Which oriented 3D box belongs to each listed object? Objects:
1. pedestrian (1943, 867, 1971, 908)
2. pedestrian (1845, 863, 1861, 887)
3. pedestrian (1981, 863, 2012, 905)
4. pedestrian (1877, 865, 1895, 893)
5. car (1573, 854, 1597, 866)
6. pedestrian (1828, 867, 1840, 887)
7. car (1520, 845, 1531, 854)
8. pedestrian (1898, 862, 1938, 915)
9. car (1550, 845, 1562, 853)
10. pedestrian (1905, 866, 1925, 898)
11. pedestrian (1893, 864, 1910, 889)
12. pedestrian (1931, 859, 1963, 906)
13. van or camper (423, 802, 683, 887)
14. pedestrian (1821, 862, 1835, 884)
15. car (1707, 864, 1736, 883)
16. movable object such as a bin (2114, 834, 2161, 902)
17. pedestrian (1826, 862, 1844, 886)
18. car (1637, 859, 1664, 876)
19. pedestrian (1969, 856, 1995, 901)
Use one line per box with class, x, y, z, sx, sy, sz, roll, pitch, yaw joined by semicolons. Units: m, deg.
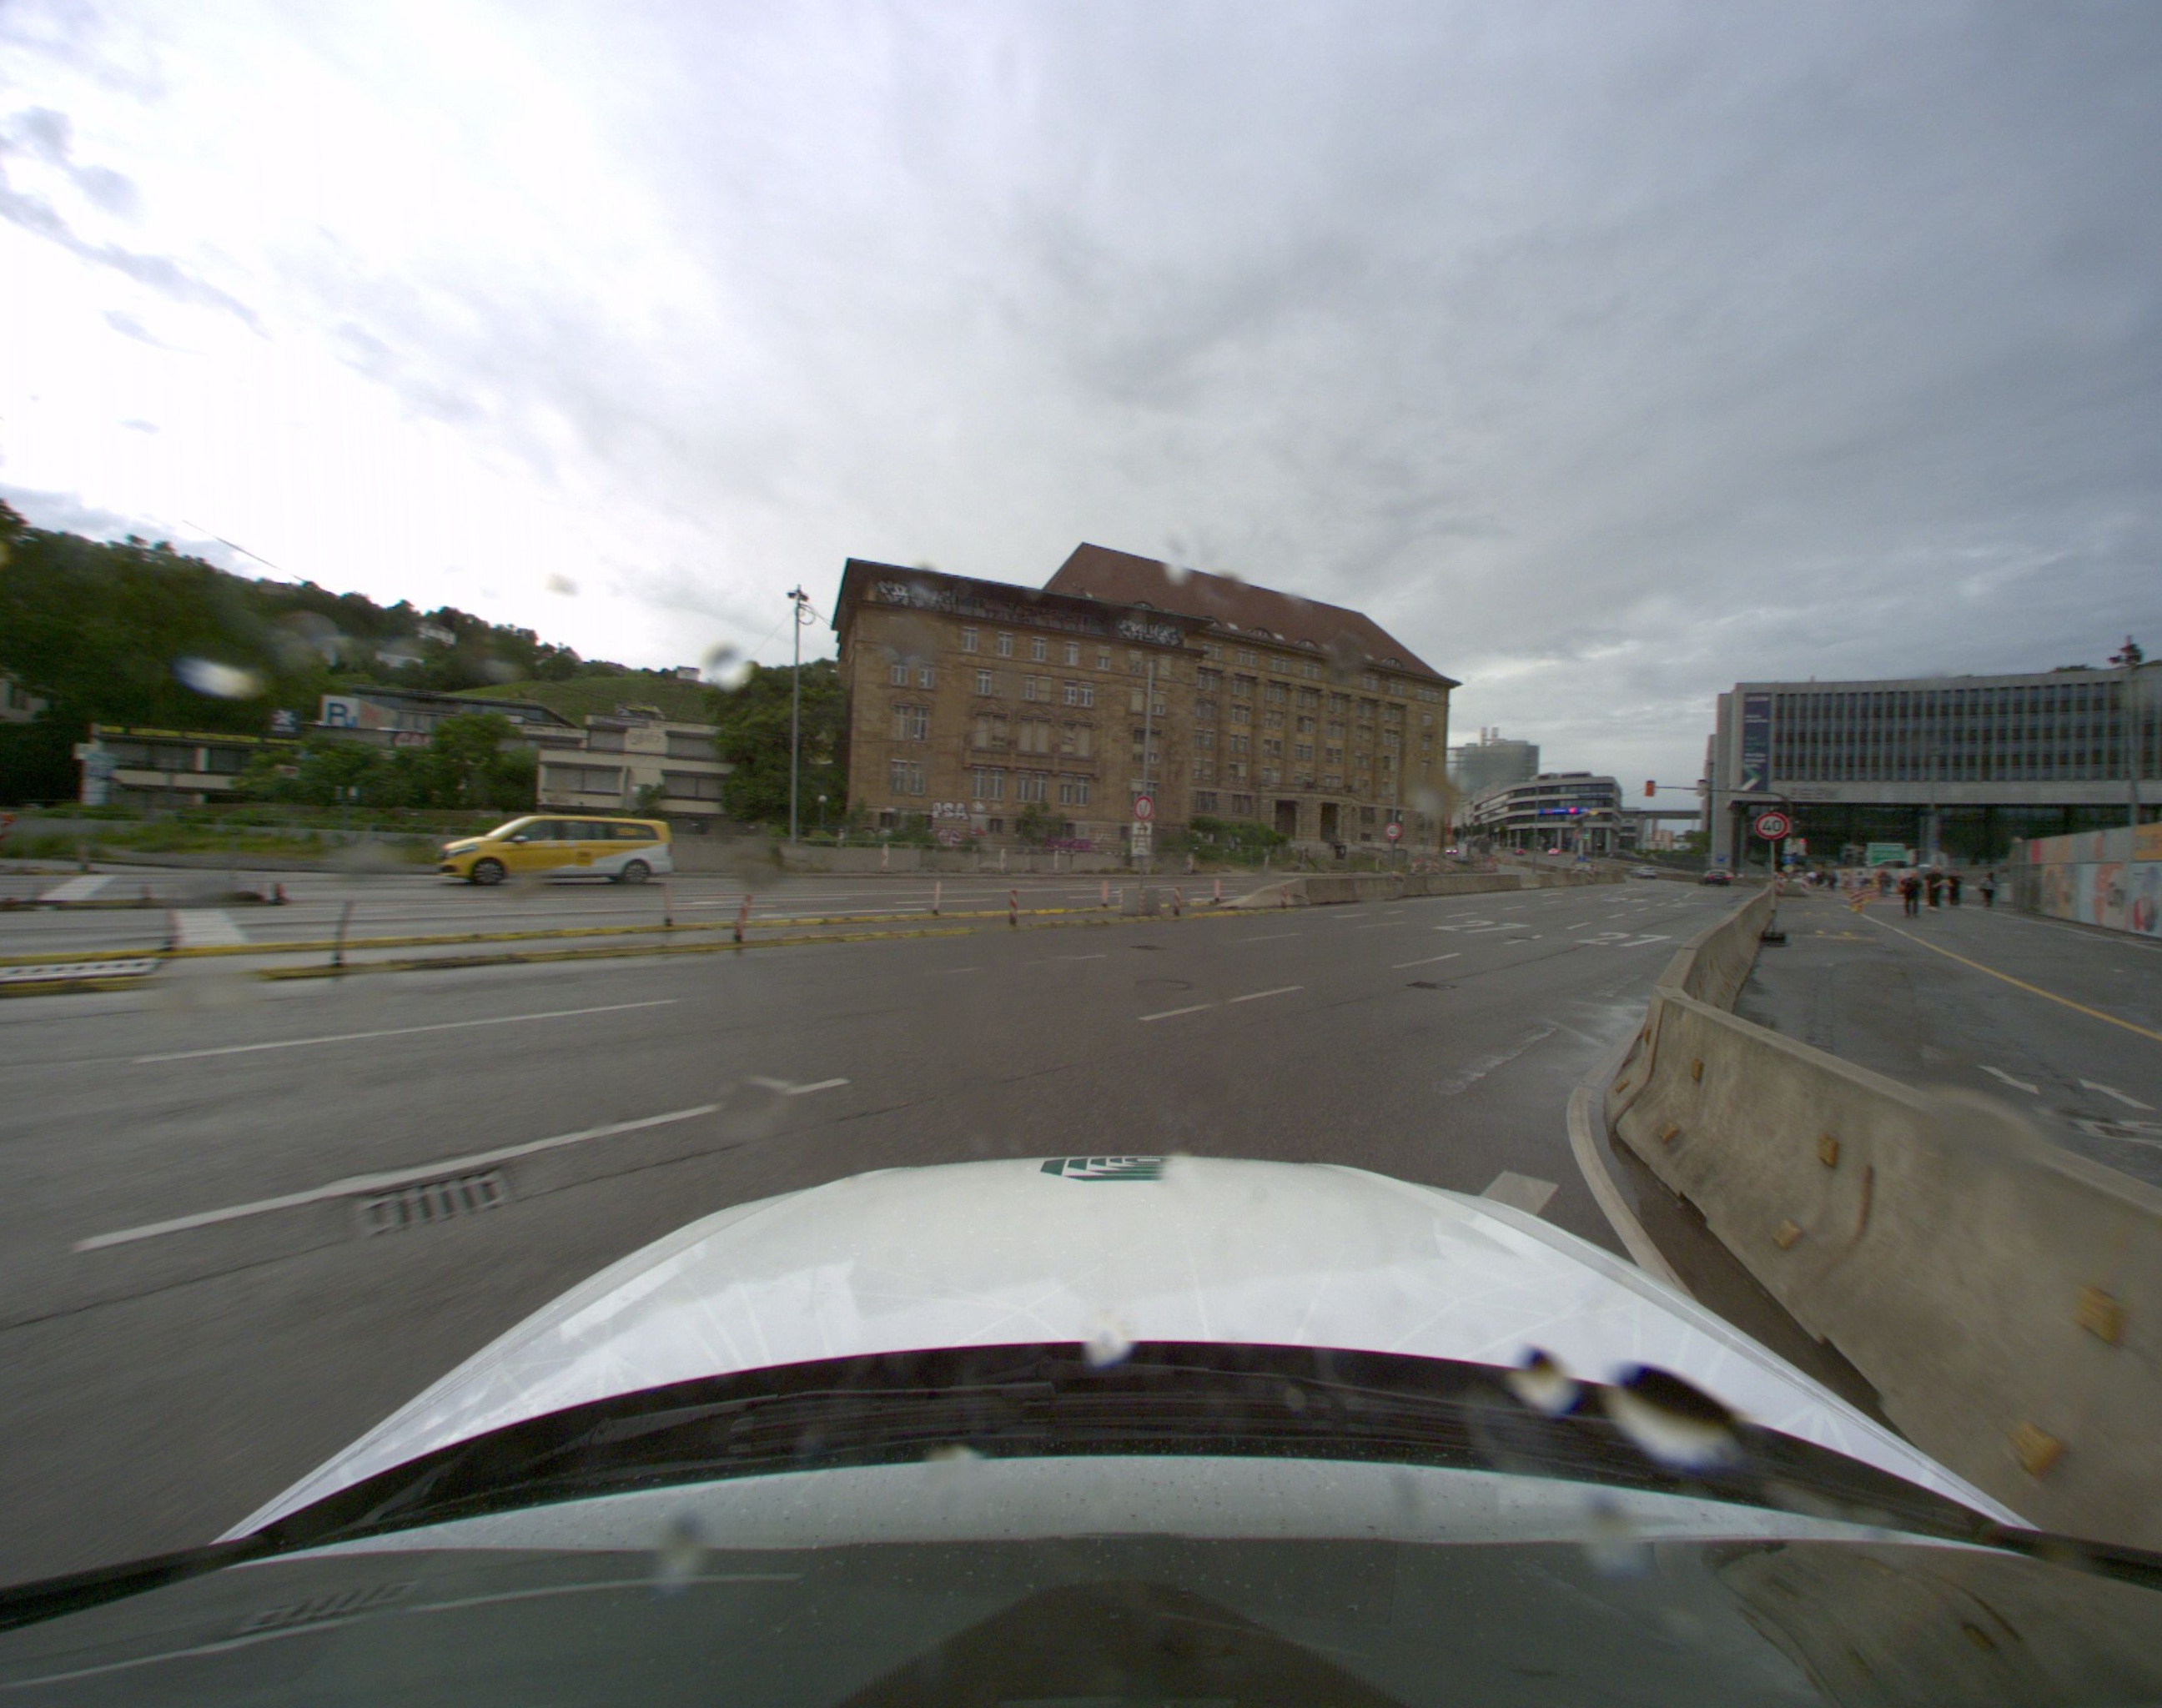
pedestrian;40.517;1.539;37.694;0.789;1.833;0.630;2;0;42
pedestrian;62.048;1.678;65.484;0.771;1.861;1.065;2;1;37
pedestrian;42.308;1.369;37.633;0.779;1.861;0.687;2;1;37
pedestrian;54.437;1.669;55.076;0.683;1.861;0.816;2;1;37
car;68.086;0.849;110.091;1.728;1.506;3.769;2;1;15
pedestrian;74.793;2.277;80.871;0.868;2.013;0.777;0;1;-43
car;97.160;-1.025;177.962;1.975;1.804;4.291;2;1;27
pedestrian;30.289;1.230;29.494;0.916;1.833;0.690;2;0;42
car;103.672;-1.140;177.621;1.975;1.804;4.291;2;1;27
pedestrian;49.592;1.676;48.441;0.658;1.861;0.687;2;1;37
pedestrian;62.148;1.717;61.696;0.725;1.854;0.836;2;0;39
pedestrian;35.524;1.151;33.423;0.789;1.877;0.825;2;0;42
van or camper;-14.442;-0.220;22.575;2.219;2.054;5.640;3;1;44
pedestrian;65.400;1.642;71.314;0.771;1.861;0.816;2;1;37
car;57.768;1.793;73.472;1.658;1.508;3.768;2;-1;32
movable object such as a bin;57.718;0.744;42.917;4.374;3.492;3.899;1;0;-36
pedestrian;59.779;1.586;64.574;0.861;1.861;0.955;2;1;37
car;68.685;1.626;98.269;1.724;1.875;3.797;2;1;21
pedestrian;41.253;1.114;37.305;0.673;2.013;0.691;2;2;42
